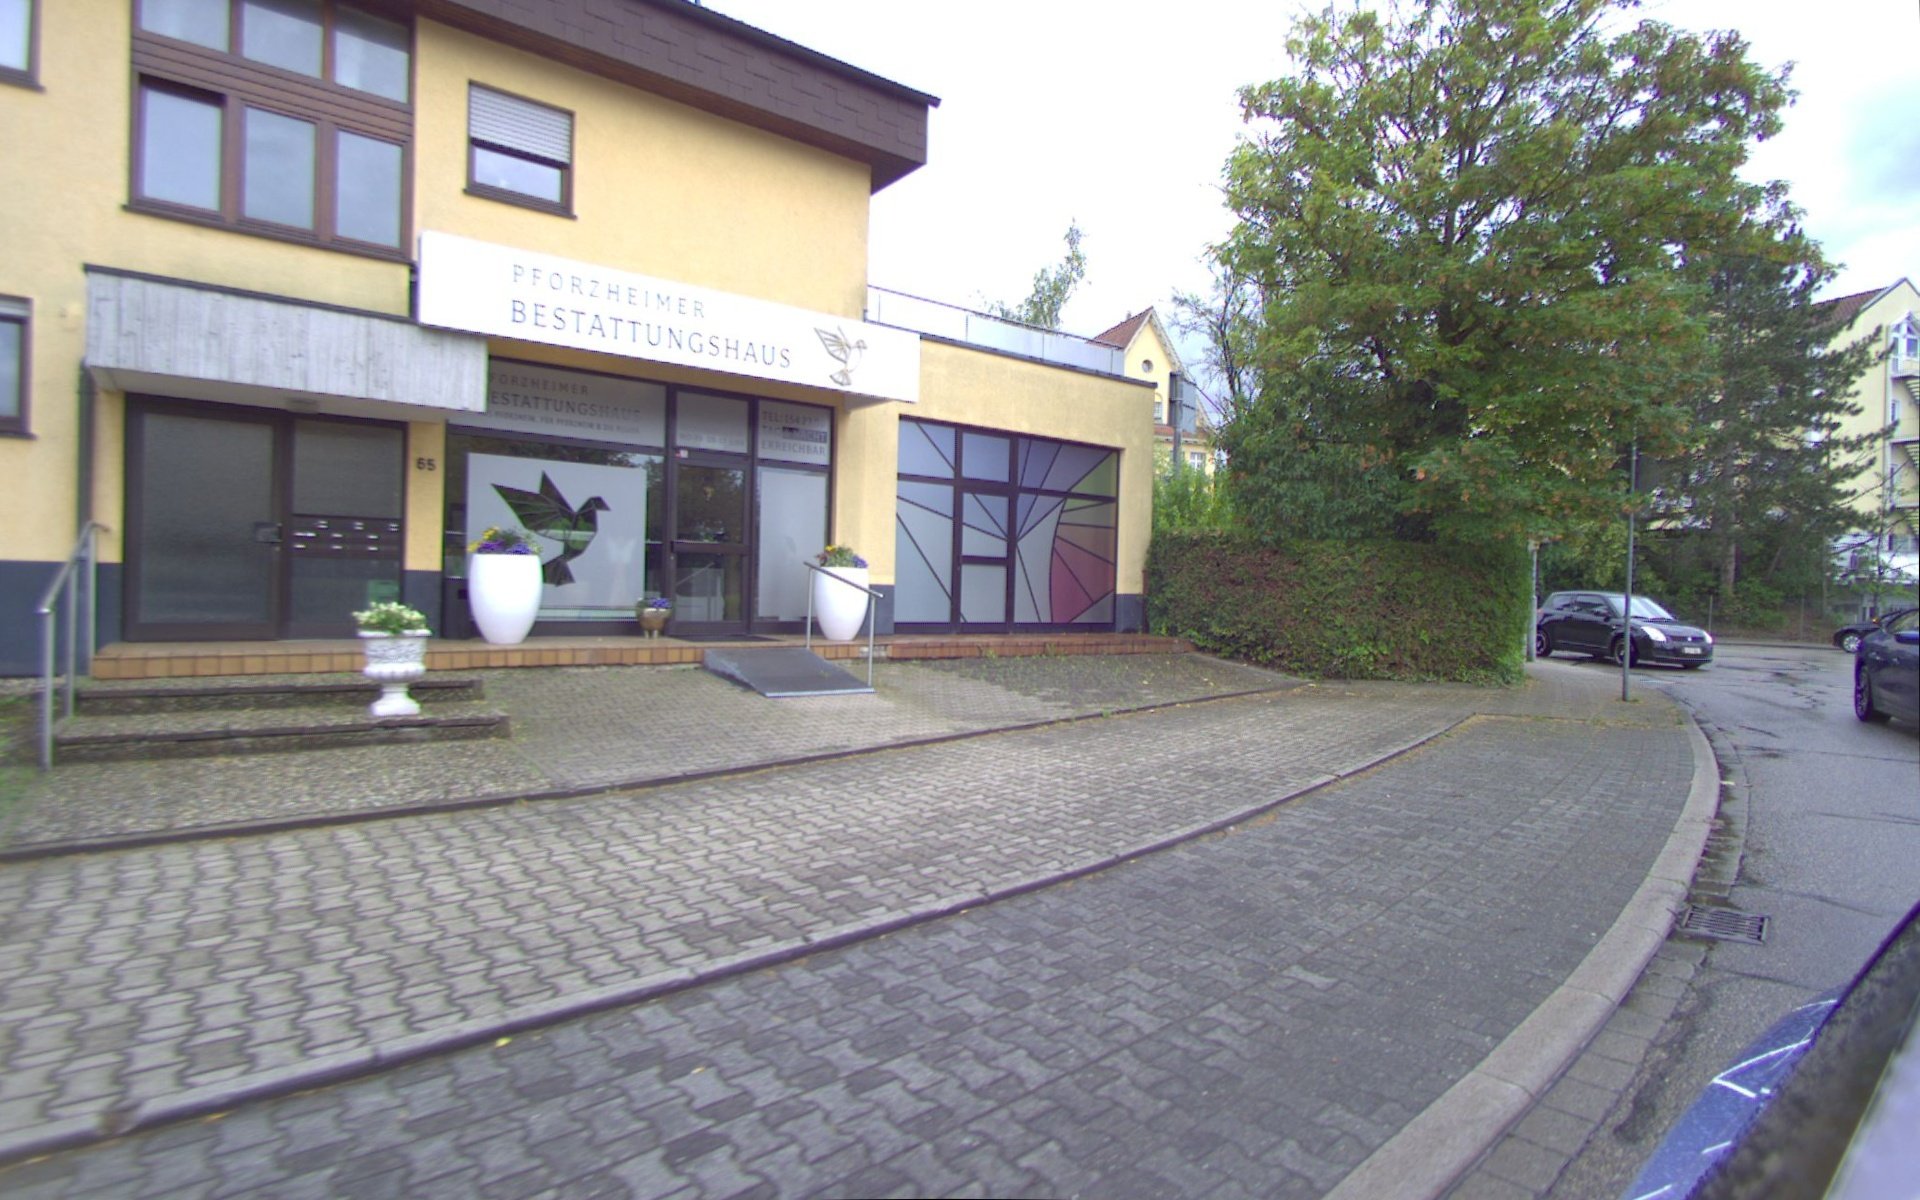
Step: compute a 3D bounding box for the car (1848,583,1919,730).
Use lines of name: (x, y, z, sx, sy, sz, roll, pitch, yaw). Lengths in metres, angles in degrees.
car: (11.196, 0.589, 10.693, 1.899, 1.514, 4.303, 0, 1, 30)

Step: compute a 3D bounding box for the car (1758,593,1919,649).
car: (26.641, 0.600, 30.087, 1.784, 1.425, 4.212, 2, 1, -24)

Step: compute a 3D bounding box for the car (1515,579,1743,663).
car: (13.968, 0.368, 21.436, 1.711, 1.538, 4.007, -2, 1, -9)

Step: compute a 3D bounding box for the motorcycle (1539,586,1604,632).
motorcycle: (22.595, 0.306, 37.424, 0.784, 1.645, 1.917, 0, 1, -44)

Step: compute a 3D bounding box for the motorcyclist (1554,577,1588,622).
motorcyclist: (22.590, -0.020, 37.419, 0.760, 1.645, 0.937, 0, 0, -44)
